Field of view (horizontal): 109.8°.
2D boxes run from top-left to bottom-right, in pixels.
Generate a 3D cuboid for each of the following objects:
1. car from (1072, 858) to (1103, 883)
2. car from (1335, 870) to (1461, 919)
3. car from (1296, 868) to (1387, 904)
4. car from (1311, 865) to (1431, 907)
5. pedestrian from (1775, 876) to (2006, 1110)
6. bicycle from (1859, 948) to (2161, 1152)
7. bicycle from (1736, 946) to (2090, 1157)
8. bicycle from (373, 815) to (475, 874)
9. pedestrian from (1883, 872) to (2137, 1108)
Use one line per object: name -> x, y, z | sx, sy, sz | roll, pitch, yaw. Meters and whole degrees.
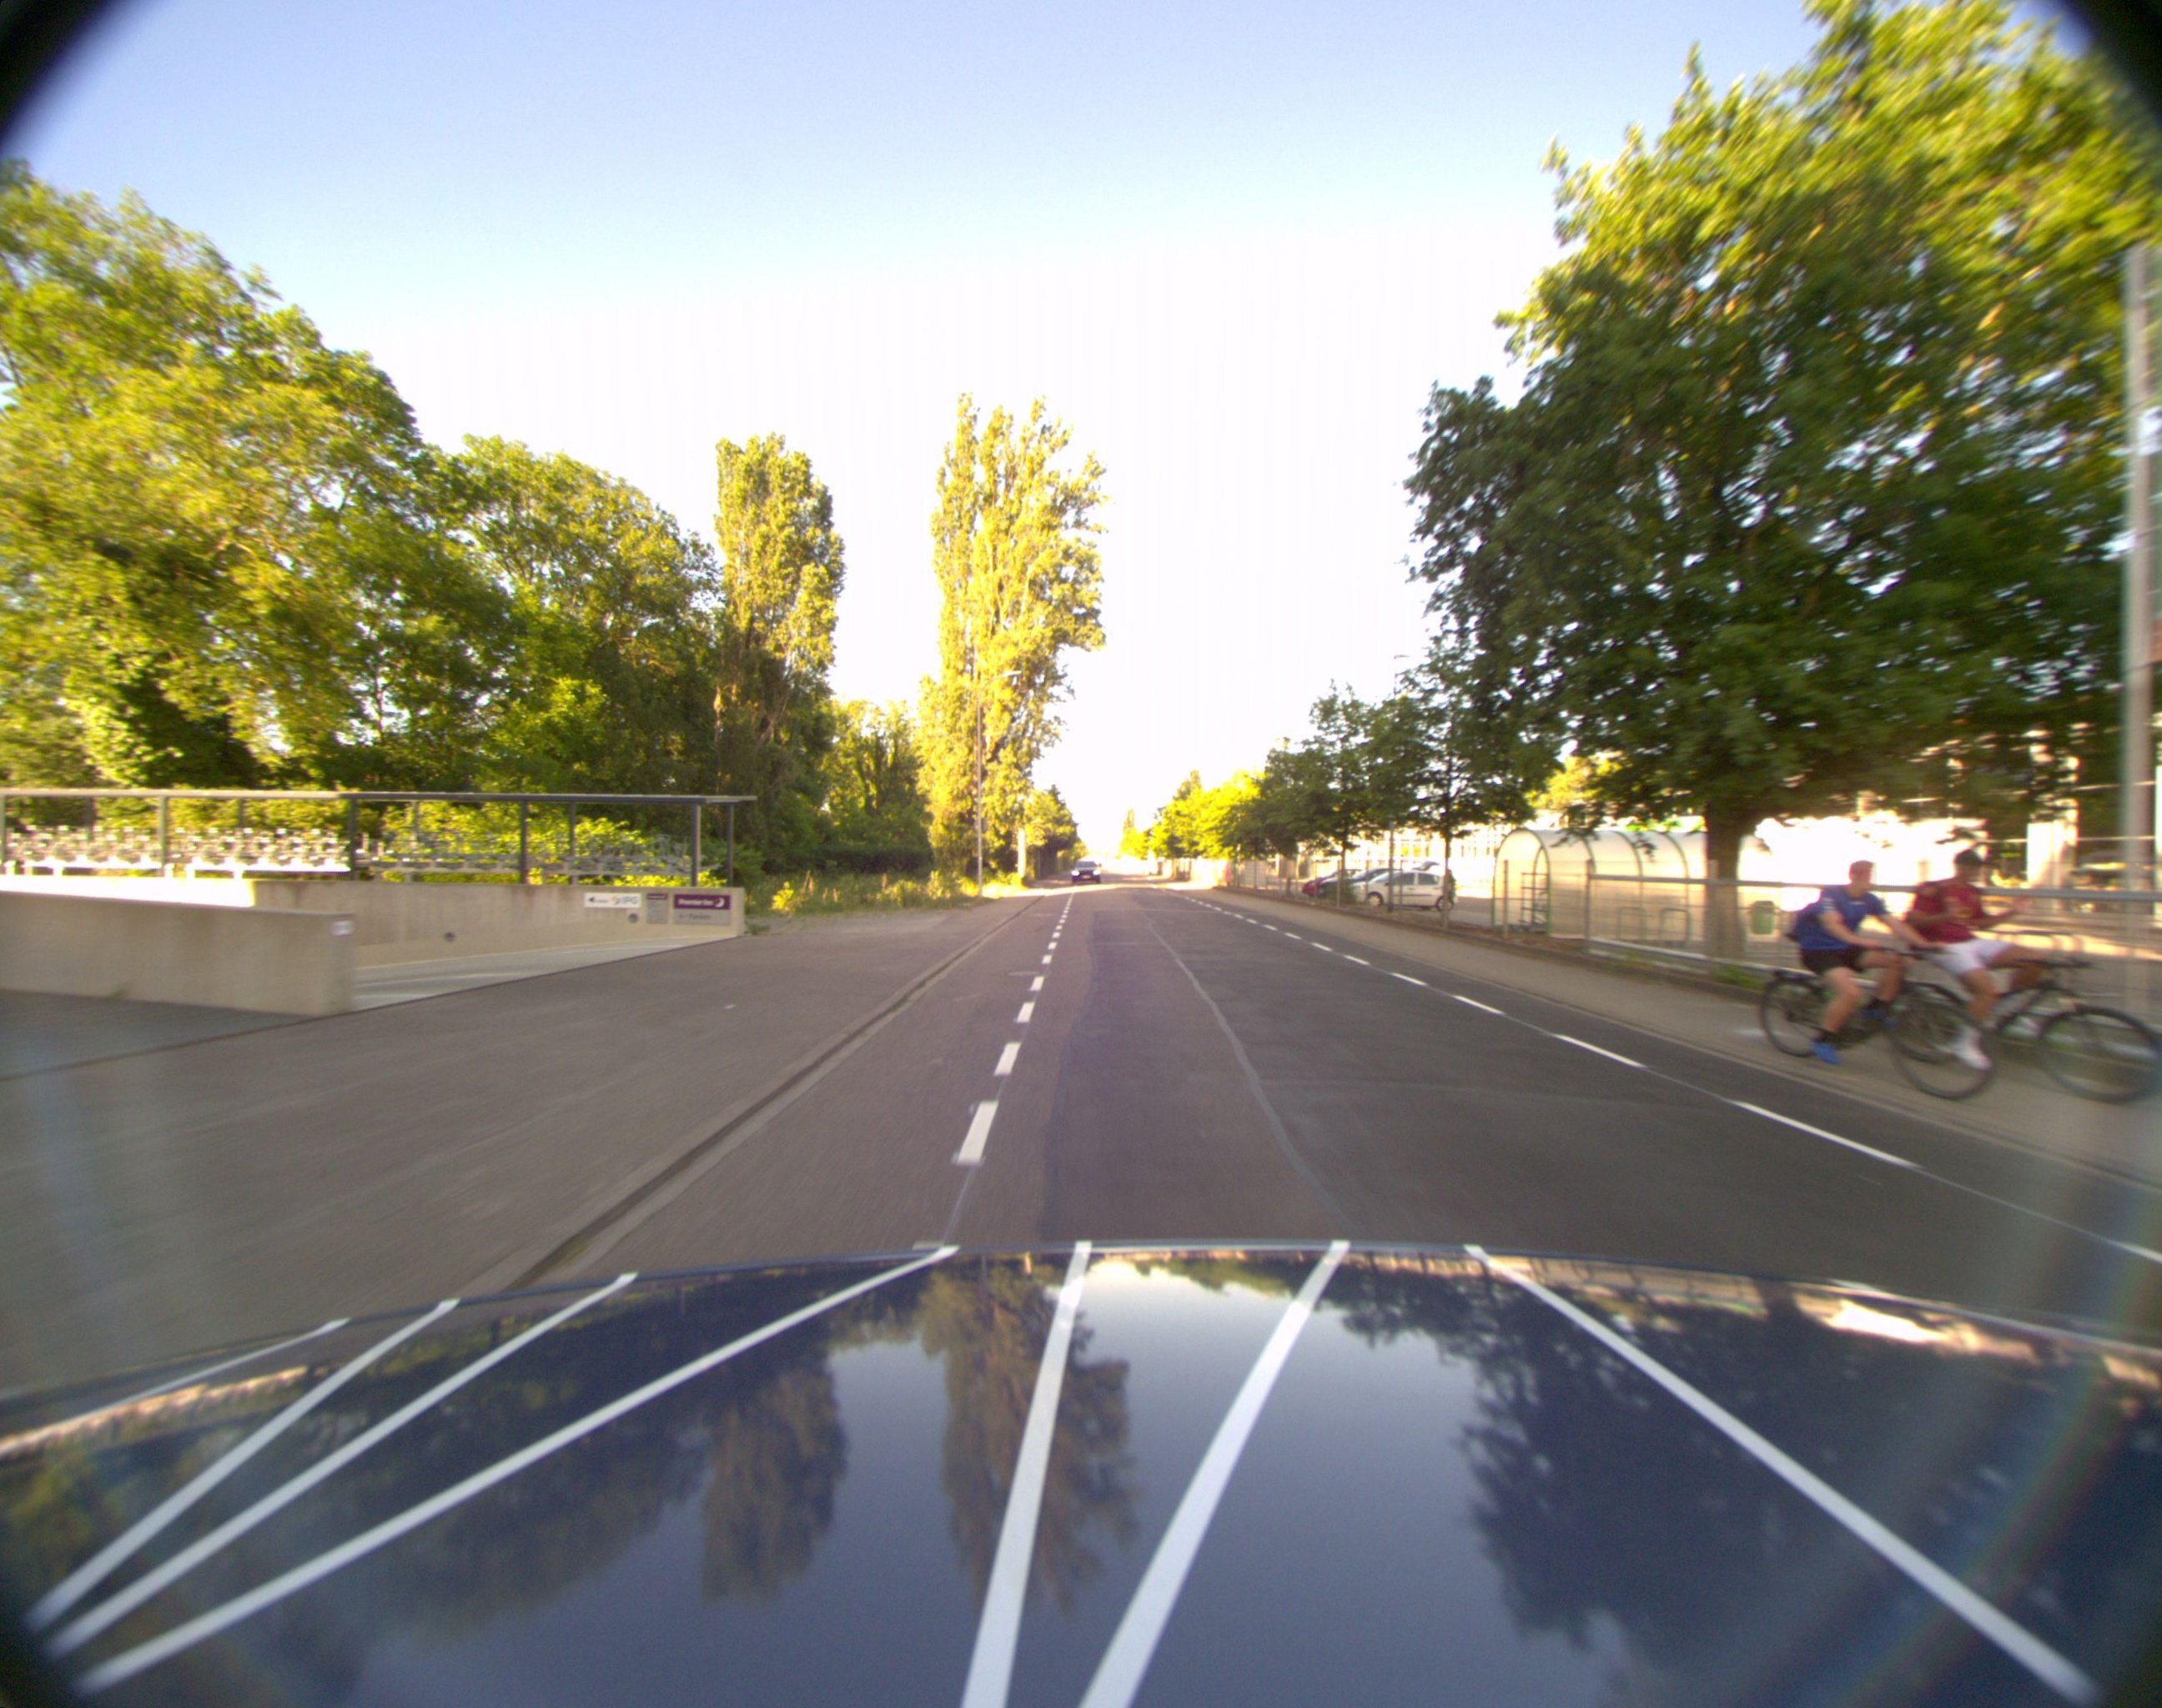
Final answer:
car -> 0.493, 1.124, 53.538 | 1.998, 1.608, 4.001 | -3, 0, 2
car -> 11.720, 1.479, 28.281 | 3.899, 1.502, 1.786 | 3, 0, 0
car -> 12.590, 1.529, 36.861 | 3.736, 1.442, 1.805 | 3, 0, -1
car -> 12.218, 1.320, 32.193 | 4.197, 1.442, 2.052 | 3, 0, -1
pedestrian -> 6.503, 1.048, 6.178 | 0.722, 1.710, 1.057 | 1, 0, 1
bicycle -> 7.356, 1.427, 6.024 | 0.471, 1.142, 1.869 | -1, 0, 1
bicycle -> 6.450, 1.436, 6.123 | 0.447, 1.142, 2.201 | -1, 0, 1
bicycle -> -15.495, -0.216, 17.994 | 0.632, 1.313, 1.990 | 0, 0, 1
pedestrian -> 7.400, 1.014, 6.126 | 0.722, 1.710, 1.057 | 1, 0, 1
